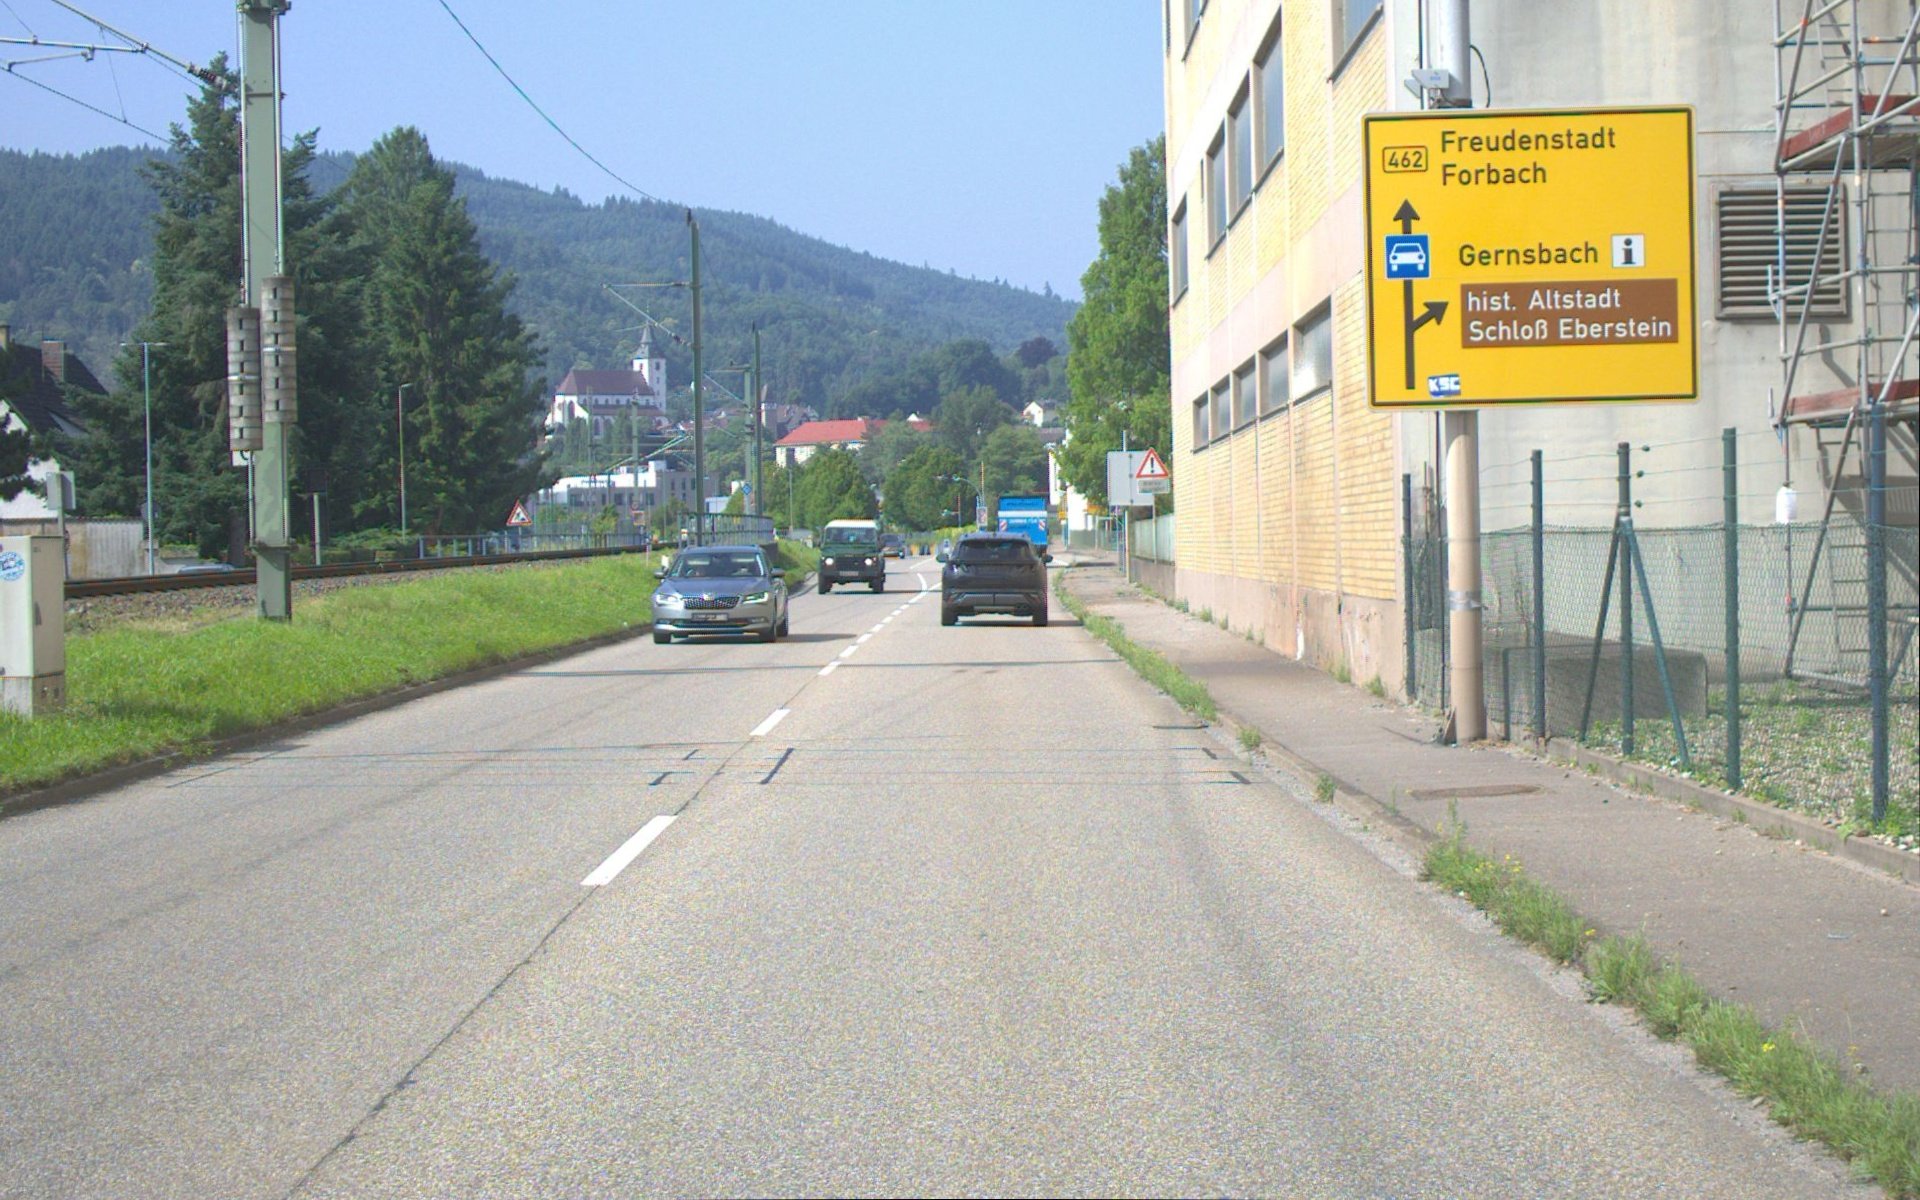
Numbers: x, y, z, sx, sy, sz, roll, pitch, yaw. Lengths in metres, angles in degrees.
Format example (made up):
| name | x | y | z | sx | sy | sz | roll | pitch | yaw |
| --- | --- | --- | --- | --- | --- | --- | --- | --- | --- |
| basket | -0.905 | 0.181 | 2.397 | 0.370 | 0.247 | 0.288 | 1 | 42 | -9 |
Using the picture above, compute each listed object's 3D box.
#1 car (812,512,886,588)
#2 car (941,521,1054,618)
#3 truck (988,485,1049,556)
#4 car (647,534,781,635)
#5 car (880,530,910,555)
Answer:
| name | x | y | z | sx | sy | sz | roll | pitch | yaw |
| --- | --- | --- | --- | --- | --- | --- | --- | --- | --- |
| car | -3.069 | -1.425 | 96.063 | 1.758 | 2.071 | 4.808 | 0 | 1 | 2 |
| car | 0.682 | -0.570 | 61.185 | 1.919 | 1.634 | 4.000 | -1 | 1 | 1 |
| truck | 2.503 | -3.456 | 147.920 | 2.312 | 2.960 | 5.966 | -1 | 2 | -2 |
| car | -3.709 | -0.275 | 52.430 | 1.767 | 1.400 | 4.297 | -2 | 1 | -1 |
| car | -3.899 | -3.484 | 207.560 | 1.741 | 1.502 | 4.200 | -1 | 1 | -1 |
